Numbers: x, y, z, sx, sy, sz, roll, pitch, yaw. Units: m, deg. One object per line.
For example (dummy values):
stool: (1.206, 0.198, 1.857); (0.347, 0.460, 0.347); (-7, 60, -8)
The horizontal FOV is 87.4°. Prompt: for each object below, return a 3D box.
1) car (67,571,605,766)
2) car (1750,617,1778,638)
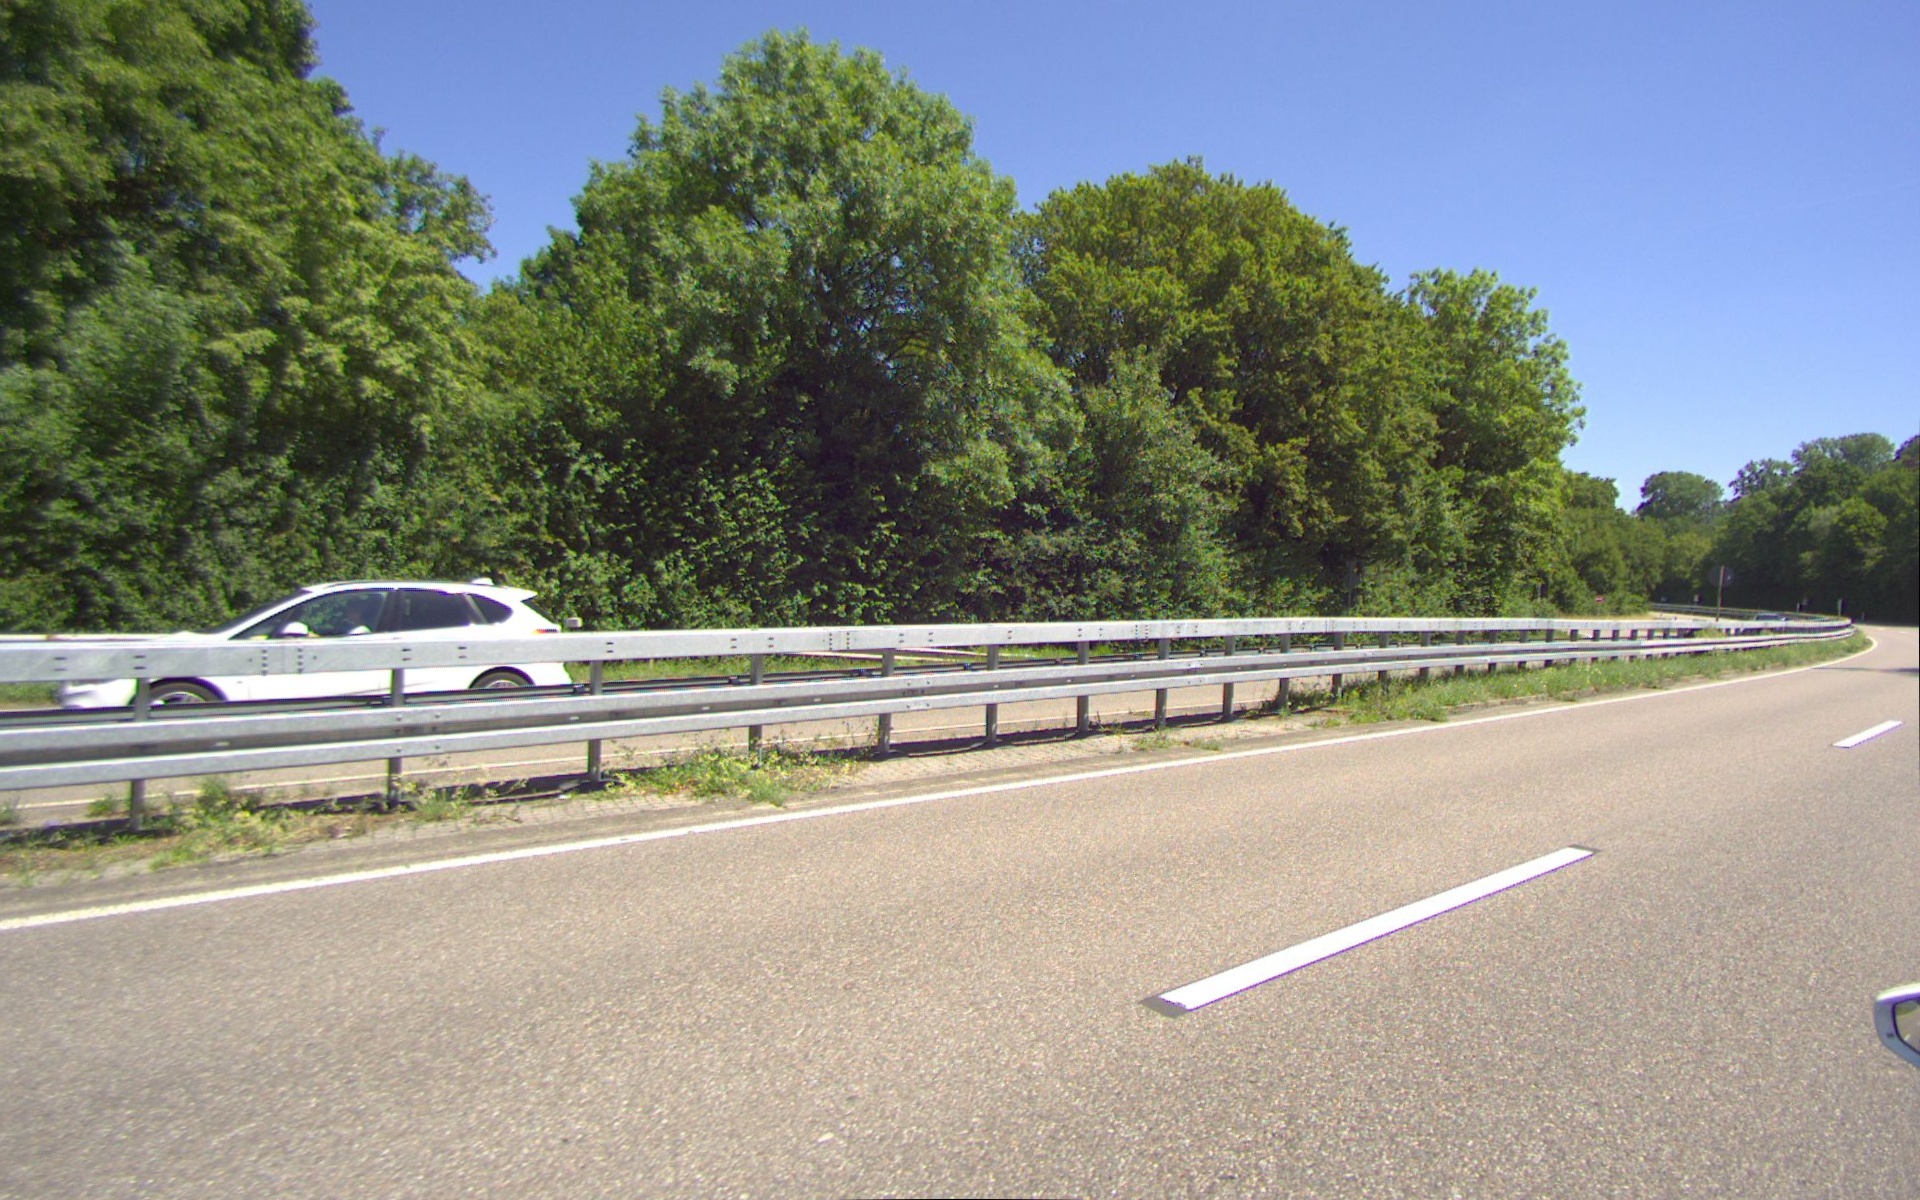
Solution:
car: (-6.132, 0.593, 10.293); (4.375, 1.594, 1.742); (1, 0, -38)
car: (56.329, 1.930, 70.379); (1.423, 1.399, 3.830); (1, 0, 40)
